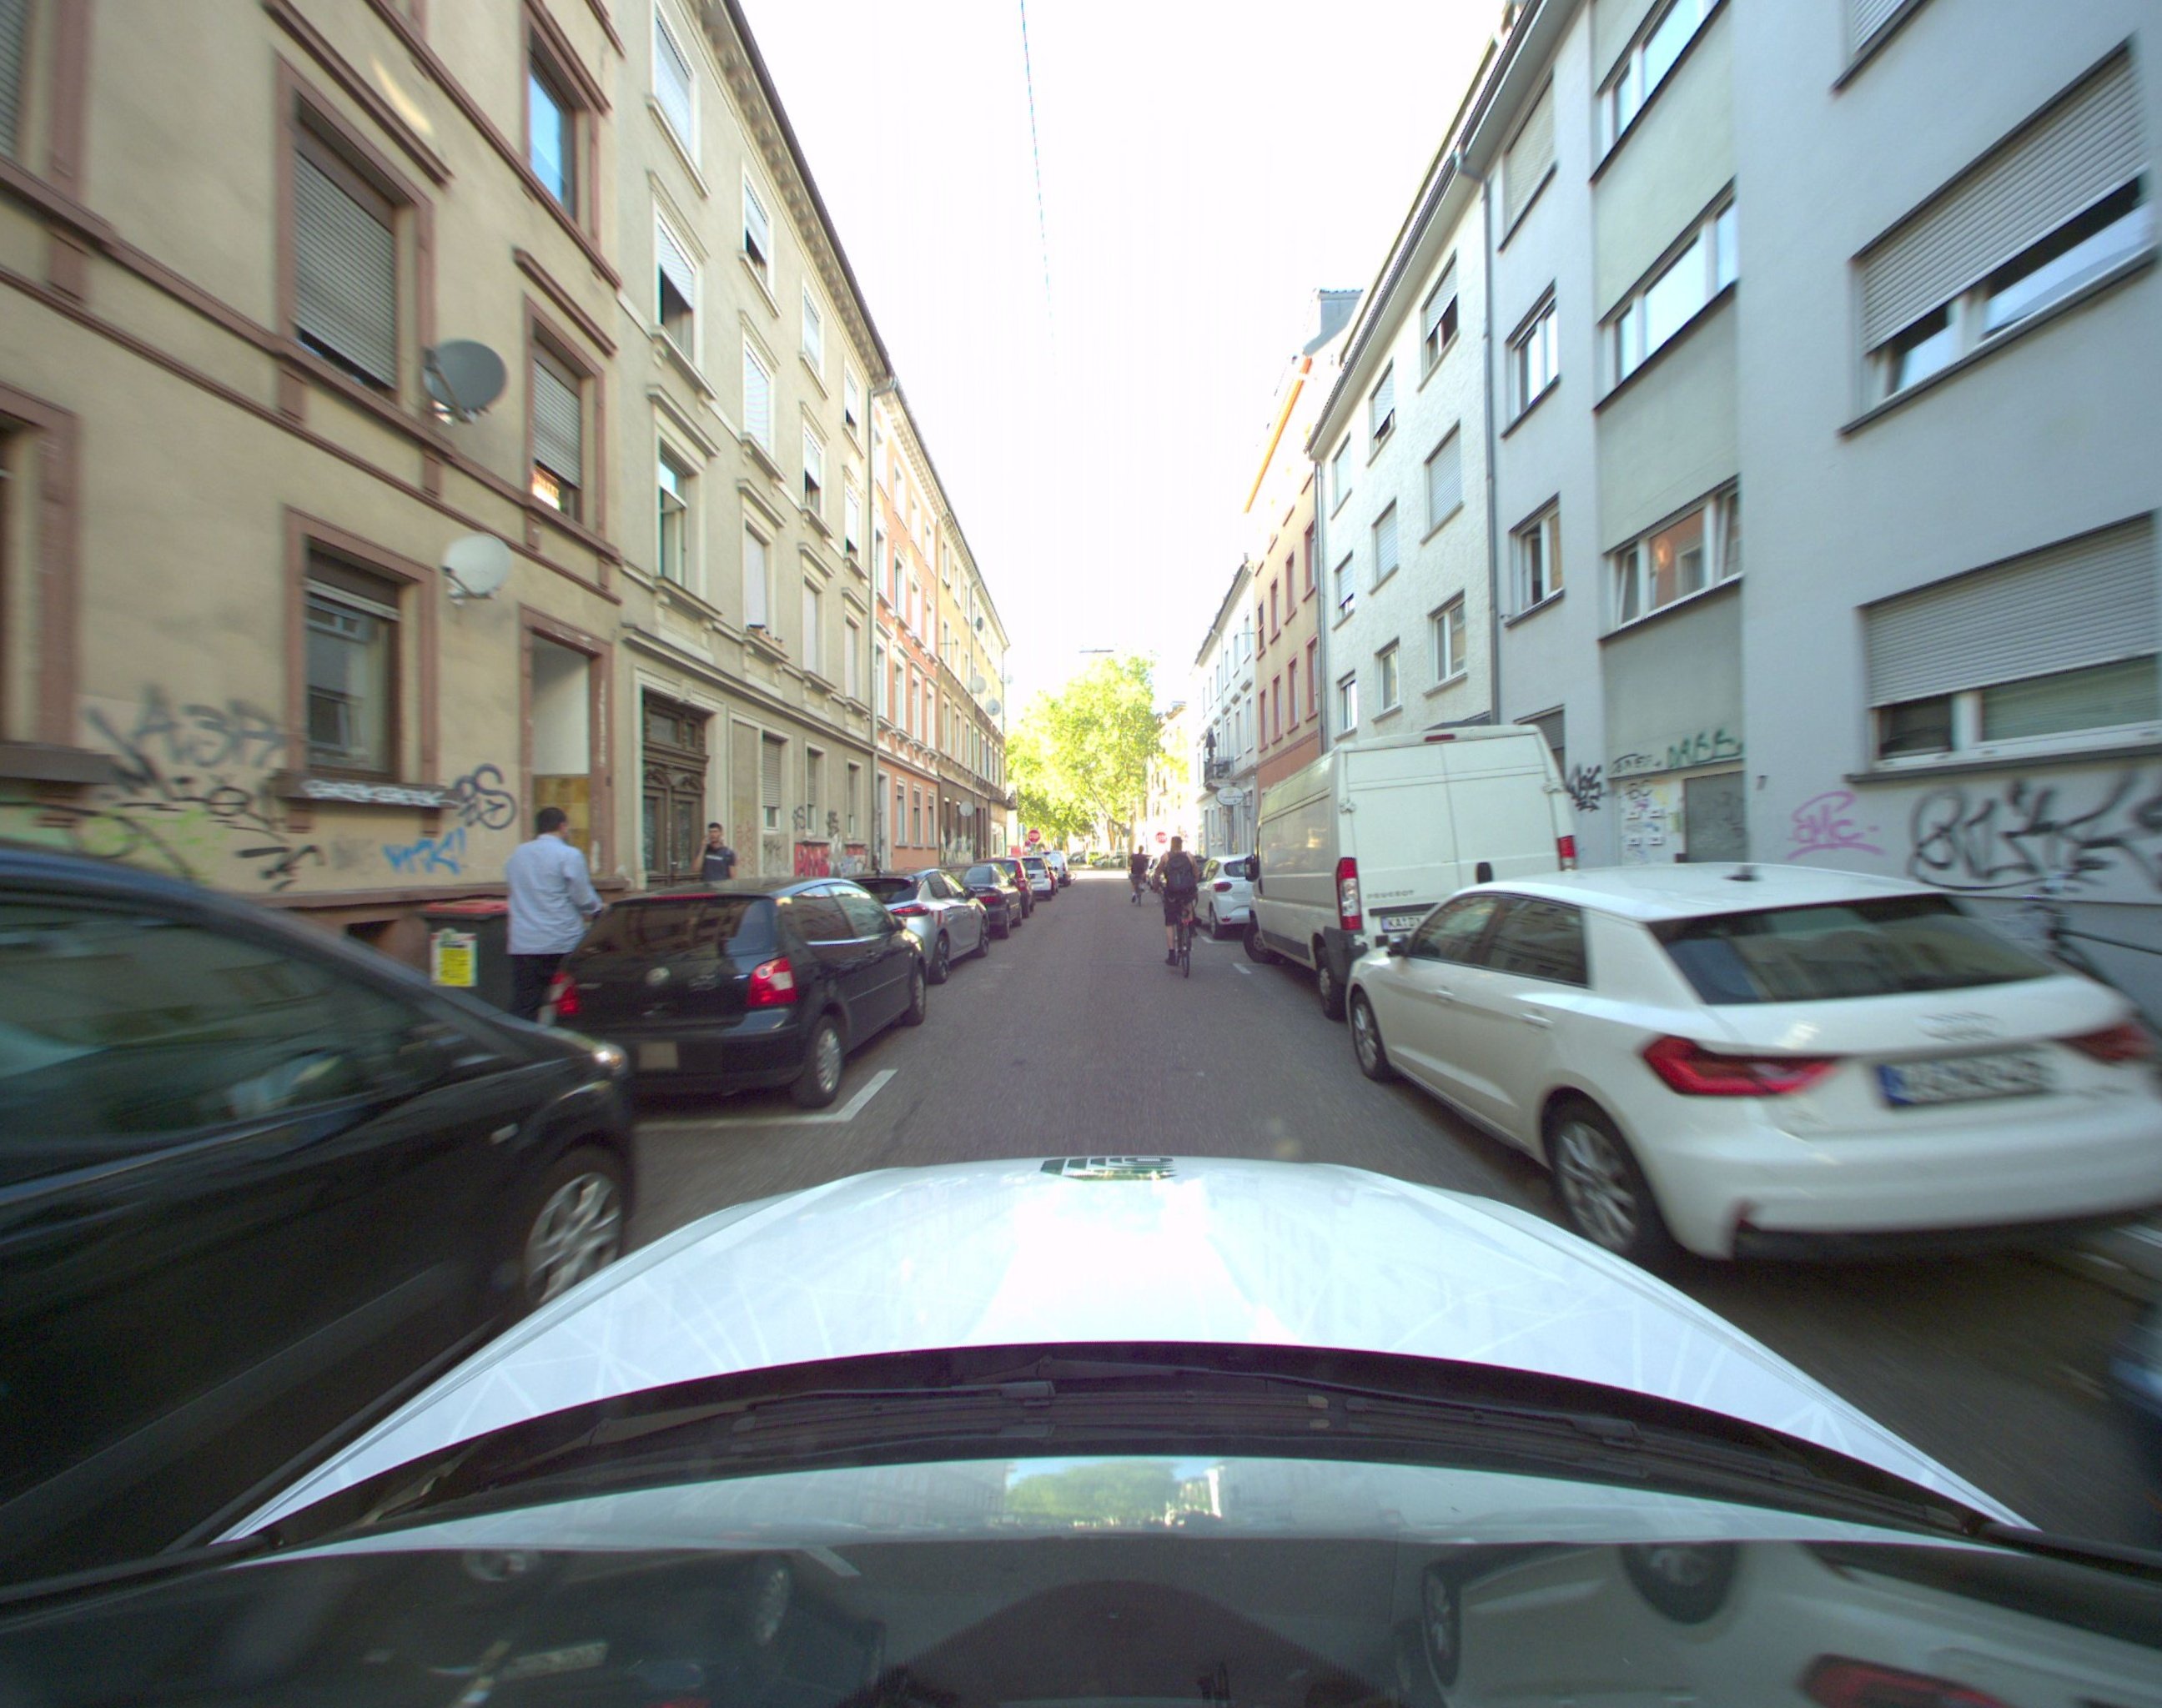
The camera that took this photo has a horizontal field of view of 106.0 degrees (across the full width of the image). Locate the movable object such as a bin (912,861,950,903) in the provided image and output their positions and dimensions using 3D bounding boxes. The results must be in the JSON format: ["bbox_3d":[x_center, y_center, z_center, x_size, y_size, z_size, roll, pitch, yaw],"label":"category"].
[{"bbox_3d":[-4.438,0.817,24.107,0.831,1.126,0.716,-6,0,3],"label":"movable object such as a bin"}]

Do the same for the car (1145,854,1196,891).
[{"bbox_3d":[3.745,0.738,34.558,1.705,1.470,3.999,-1,0,0],"label":"car"}]

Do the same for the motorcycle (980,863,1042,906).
[{"bbox_3d":[-2.156,0.920,25.066,1.797,1.256,0.707,-1,0,-13],"label":"motorcycle"}]

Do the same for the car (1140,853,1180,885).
[{"bbox_3d":[4.013,0.726,41.664,1.647,1.530,3.574,-1,0,0],"label":"car"}]

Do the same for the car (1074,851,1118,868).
[{"bbox_3d":[1.531,0.573,85.720,4.459,1.696,1.864,-2,0,-3],"label":"car"}]

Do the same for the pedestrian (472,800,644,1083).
[{"bbox_3d":[-3.587,0.566,5.649,0.648,1.817,0.754,1,0,2],"label":"pedestrian"}]

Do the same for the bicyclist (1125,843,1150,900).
[{"bbox_3d":[1.695,0.507,24.337,0.667,1.658,0.877,-1,0,1],"label":"bicyclist"}]

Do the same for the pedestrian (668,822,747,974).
[{"bbox_3d":[-4.772,0.544,10.440,0.608,1.858,0.754,1,0,1],"label":"pedestrian"}]

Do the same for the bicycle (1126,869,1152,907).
[{"bbox_3d":[1.717,0.981,24.341,0.661,1.037,1.959,-1,0,2],"label":"bicycle"}]

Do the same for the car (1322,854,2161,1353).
[{"bbox_3d":[2.719,0.736,4.334,1.719,1.429,3.832,-1,0,0],"label":"car"}]

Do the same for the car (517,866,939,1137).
[{"bbox_3d":[-2.324,0.868,6.441,1.585,1.440,3.656,-1,0,2],"label":"car"}]

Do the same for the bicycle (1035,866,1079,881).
[{"bbox_3d":[-1.496,1.203,50.540,2.708,0.892,0.618,-2,0,-2],"label":"bicycle"}]

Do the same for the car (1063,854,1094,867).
[{"bbox_3d":[-0.406,0.954,120.745,4.459,1.696,1.864,-2,0,-3],"label":"car"}]

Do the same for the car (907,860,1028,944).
[{"bbox_3d":[-2.136,0.858,16.479,1.700,1.414,4.303,-1,0,1],"label":"car"}]

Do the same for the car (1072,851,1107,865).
[{"bbox_3d":[1.101,0.515,105.298,4.459,1.696,1.864,-2,0,-3],"label":"car"}]

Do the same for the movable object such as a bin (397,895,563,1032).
[{"bbox_3d":[-5.142,0.911,7.017,0.786,1.025,0.757,3,0,3],"label":"movable object such as a bin"}]

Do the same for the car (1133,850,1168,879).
[{"bbox_3d":[4.456,0.649,52.652,1.887,1.769,3.998,-1,0,-1],"label":"car"}]

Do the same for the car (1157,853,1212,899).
[{"bbox_3d":[3.632,0.720,29.100,1.586,1.492,3.877,-1,0,2],"label":"car"}]

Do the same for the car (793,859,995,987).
[{"bbox_3d":[-2.389,0.818,11.421,1.666,1.430,3.892,-2,0,4],"label":"car"}]

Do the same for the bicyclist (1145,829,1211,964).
[{"bbox_3d":[1.256,0.534,10.716,0.737,1.679,1.117,1,0,1],"label":"bicyclist"}]

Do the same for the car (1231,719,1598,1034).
[{"bbox_3d":[3.299,0.185,9.741,2.195,2.551,6.042,-1,0,4],"label":"car"}]

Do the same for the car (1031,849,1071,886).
[{"bbox_3d":[-1.455,0.641,41.016,1.781,1.737,3.877,-1,0,1],"label":"car"}]

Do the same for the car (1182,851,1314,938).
[{"bbox_3d":[3.185,0.705,16.305,1.726,1.470,4.019,-1,0,-1],"label":"car"}]

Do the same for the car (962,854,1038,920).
[{"bbox_3d":[-2.061,0.803,21.439,1.600,1.530,3.378,-2,0,0],"label":"car"}]

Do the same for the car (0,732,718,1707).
[{"bbox_3d":[-2.578,0.705,1.585,1.794,1.698,4.001,-3,0,1],"label":"car"}]

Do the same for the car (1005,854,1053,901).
[{"bbox_3d":[-1.790,0.781,28.814,1.540,1.550,3.463,-1,0,-2],"label":"car"}]

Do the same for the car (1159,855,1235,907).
[{"bbox_3d":[3.322,0.738,24.011,1.652,1.338,3.999,-1,0,0],"label":"car"}]

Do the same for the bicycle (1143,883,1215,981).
[{"bbox_3d":[1.262,0.984,10.856,0.737,1.100,2.042,1,0,1],"label":"bicycle"}]

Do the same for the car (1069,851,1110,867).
[{"bbox_3d":[0.927,0.577,92.112,4.459,1.696,1.864,-2,0,-3],"label":"car"}]

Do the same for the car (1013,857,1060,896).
[{"bbox_3d":[-1.725,0.848,32.578,1.547,1.399,3.668,-1,0,1],"label":"car"}]

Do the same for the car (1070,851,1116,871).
[{"bbox_3d":[1.172,0.674,80.237,4.459,1.759,1.864,-2,0,-3],"label":"car"}]

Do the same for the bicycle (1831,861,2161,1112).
[{"bbox_3d":[5.556,0.654,4.507,0.625,1.158,2.353,-4,0,2],"label":"bicycle"}]

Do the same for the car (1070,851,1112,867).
[{"bbox_3d":[1.069,0.562,89.722,4.459,1.696,1.864,-2,0,-3],"label":"car"}]

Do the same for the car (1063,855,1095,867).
[{"bbox_3d":[-0.297,0.988,118.567,4.459,1.696,1.864,-2,0,-3],"label":"car"}]
